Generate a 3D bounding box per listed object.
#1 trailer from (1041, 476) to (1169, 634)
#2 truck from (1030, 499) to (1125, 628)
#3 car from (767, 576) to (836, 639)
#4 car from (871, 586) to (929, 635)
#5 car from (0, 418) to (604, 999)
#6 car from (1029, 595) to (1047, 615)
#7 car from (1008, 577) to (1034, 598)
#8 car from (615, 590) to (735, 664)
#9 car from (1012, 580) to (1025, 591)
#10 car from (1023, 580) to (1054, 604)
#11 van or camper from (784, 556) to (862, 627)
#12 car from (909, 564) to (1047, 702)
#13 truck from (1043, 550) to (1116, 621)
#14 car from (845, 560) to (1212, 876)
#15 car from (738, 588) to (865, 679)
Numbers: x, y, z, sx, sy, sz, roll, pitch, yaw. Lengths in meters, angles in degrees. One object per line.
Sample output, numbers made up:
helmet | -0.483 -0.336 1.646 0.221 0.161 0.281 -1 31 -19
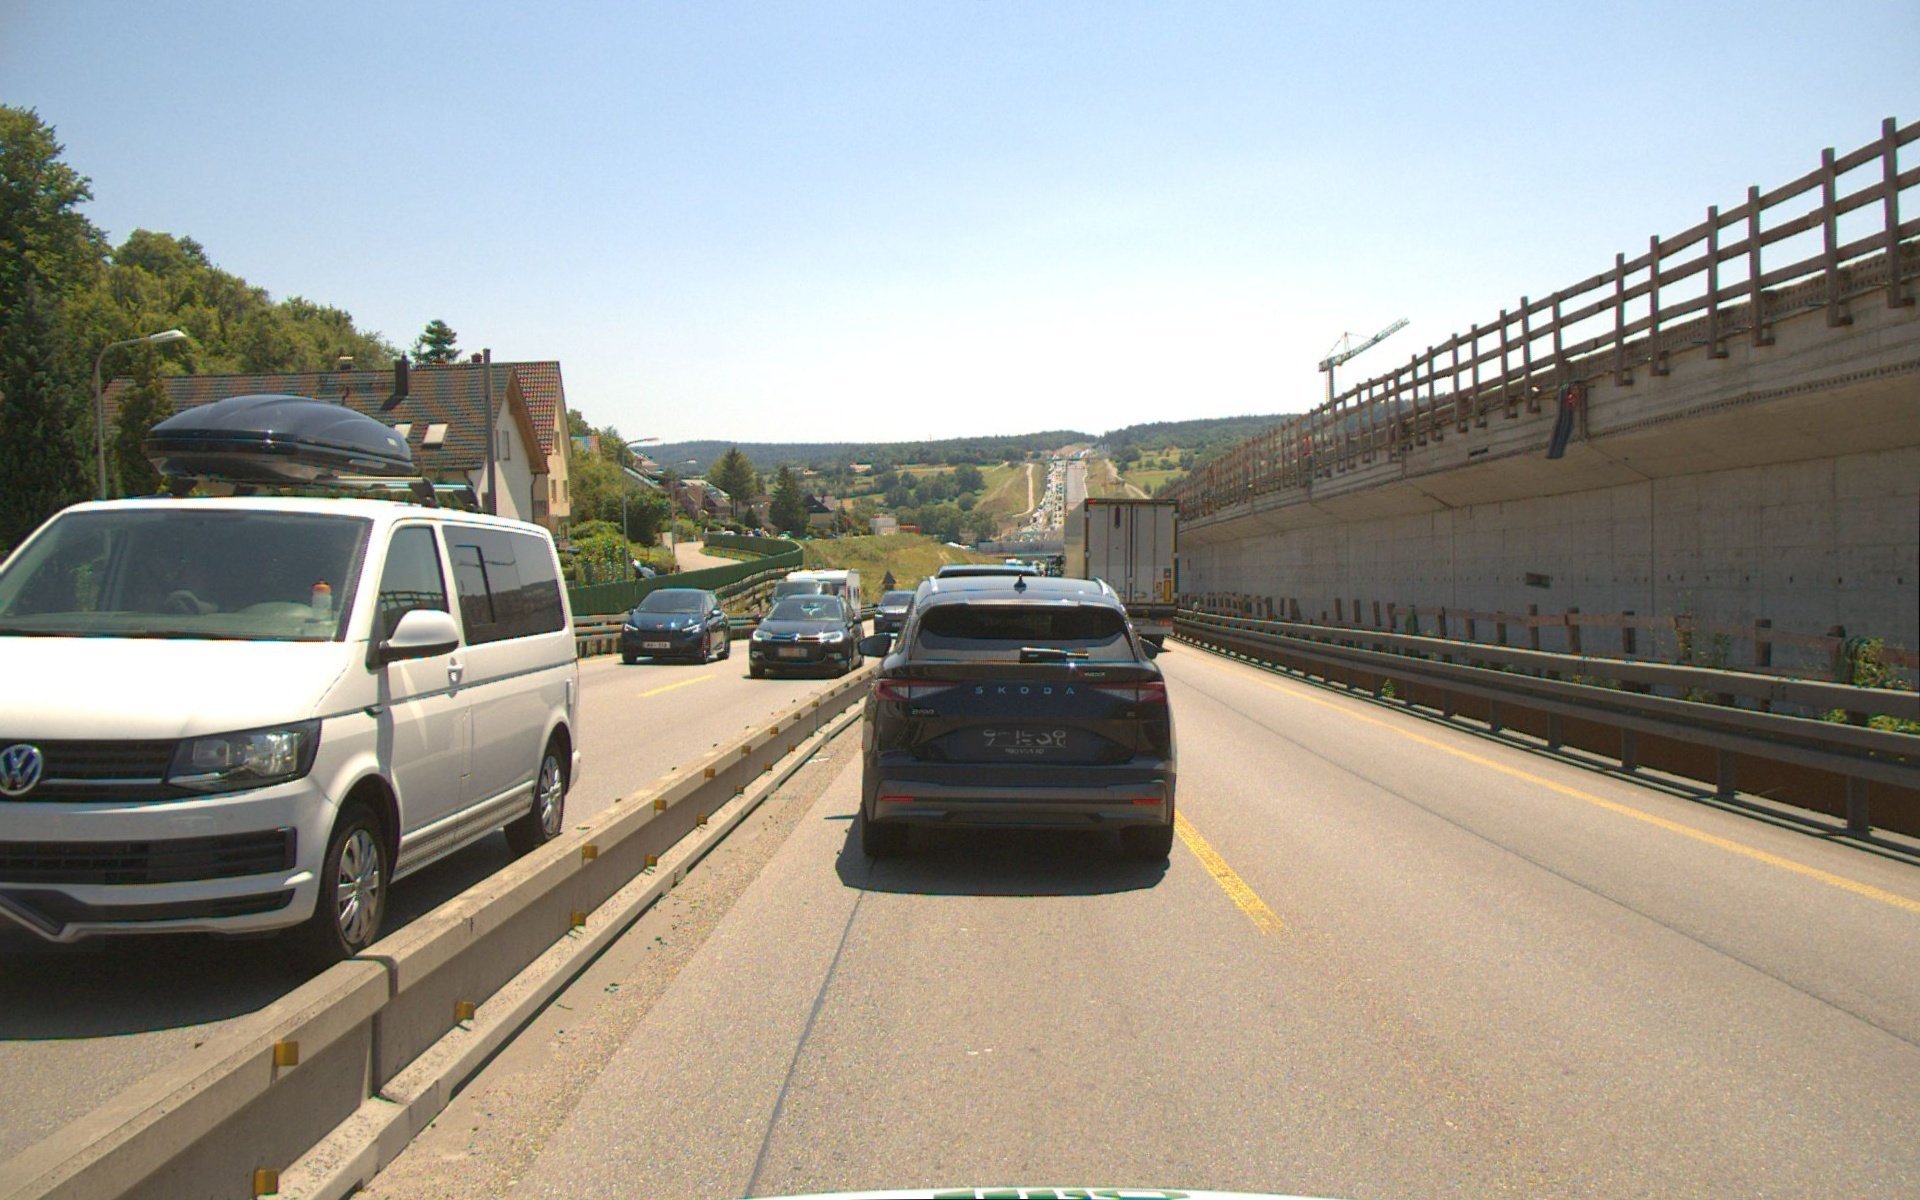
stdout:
trailer | 4.141 -1.106 49.817 2.480 4.199 11.543 1 -1 -2
truck | 3.958 -1.104 57.193 2.462 4.096 8.234 1 -1 -1
car | -5.354 0.284 56.351 1.953 2.049 4.000 1 -1 0
car | -2.046 0.392 57.884 1.834 1.614 4.479 1 -1 0
car | -3.257 0.409 8.159 1.981 1.995 4.897 1 -1 -1
car | 7.246 0.440 153.334 1.665 1.758 3.837 1 -1 3
car | 5.019 -1.007 137.386 1.953 1.613 3.835 1 -1 -1
car | -6.054 0.585 35.572 1.805 1.485 4.177 1 -1 0
car | 8.965 -2.241 252.674 1.806 1.613 3.836 1 -1 1
car | 5.655 -0.547 119.737 1.953 1.613 3.835 1 -1 -1
van or camper | -5.184 -0.268 63.639 2.305 2.560 6.328 1 -1 1
car | 0.192 0.438 25.158 1.674 1.914 3.996 1 1 -5
truck | 5.914 -0.609 83.535 3.129 3.247 12.810 0 -1 2
car | 0.230 0.643 10.481 1.807 1.614 3.902 1 -1 -5
car | -2.841 0.611 30.572 1.953 1.530 4.648 1 -1 -1
